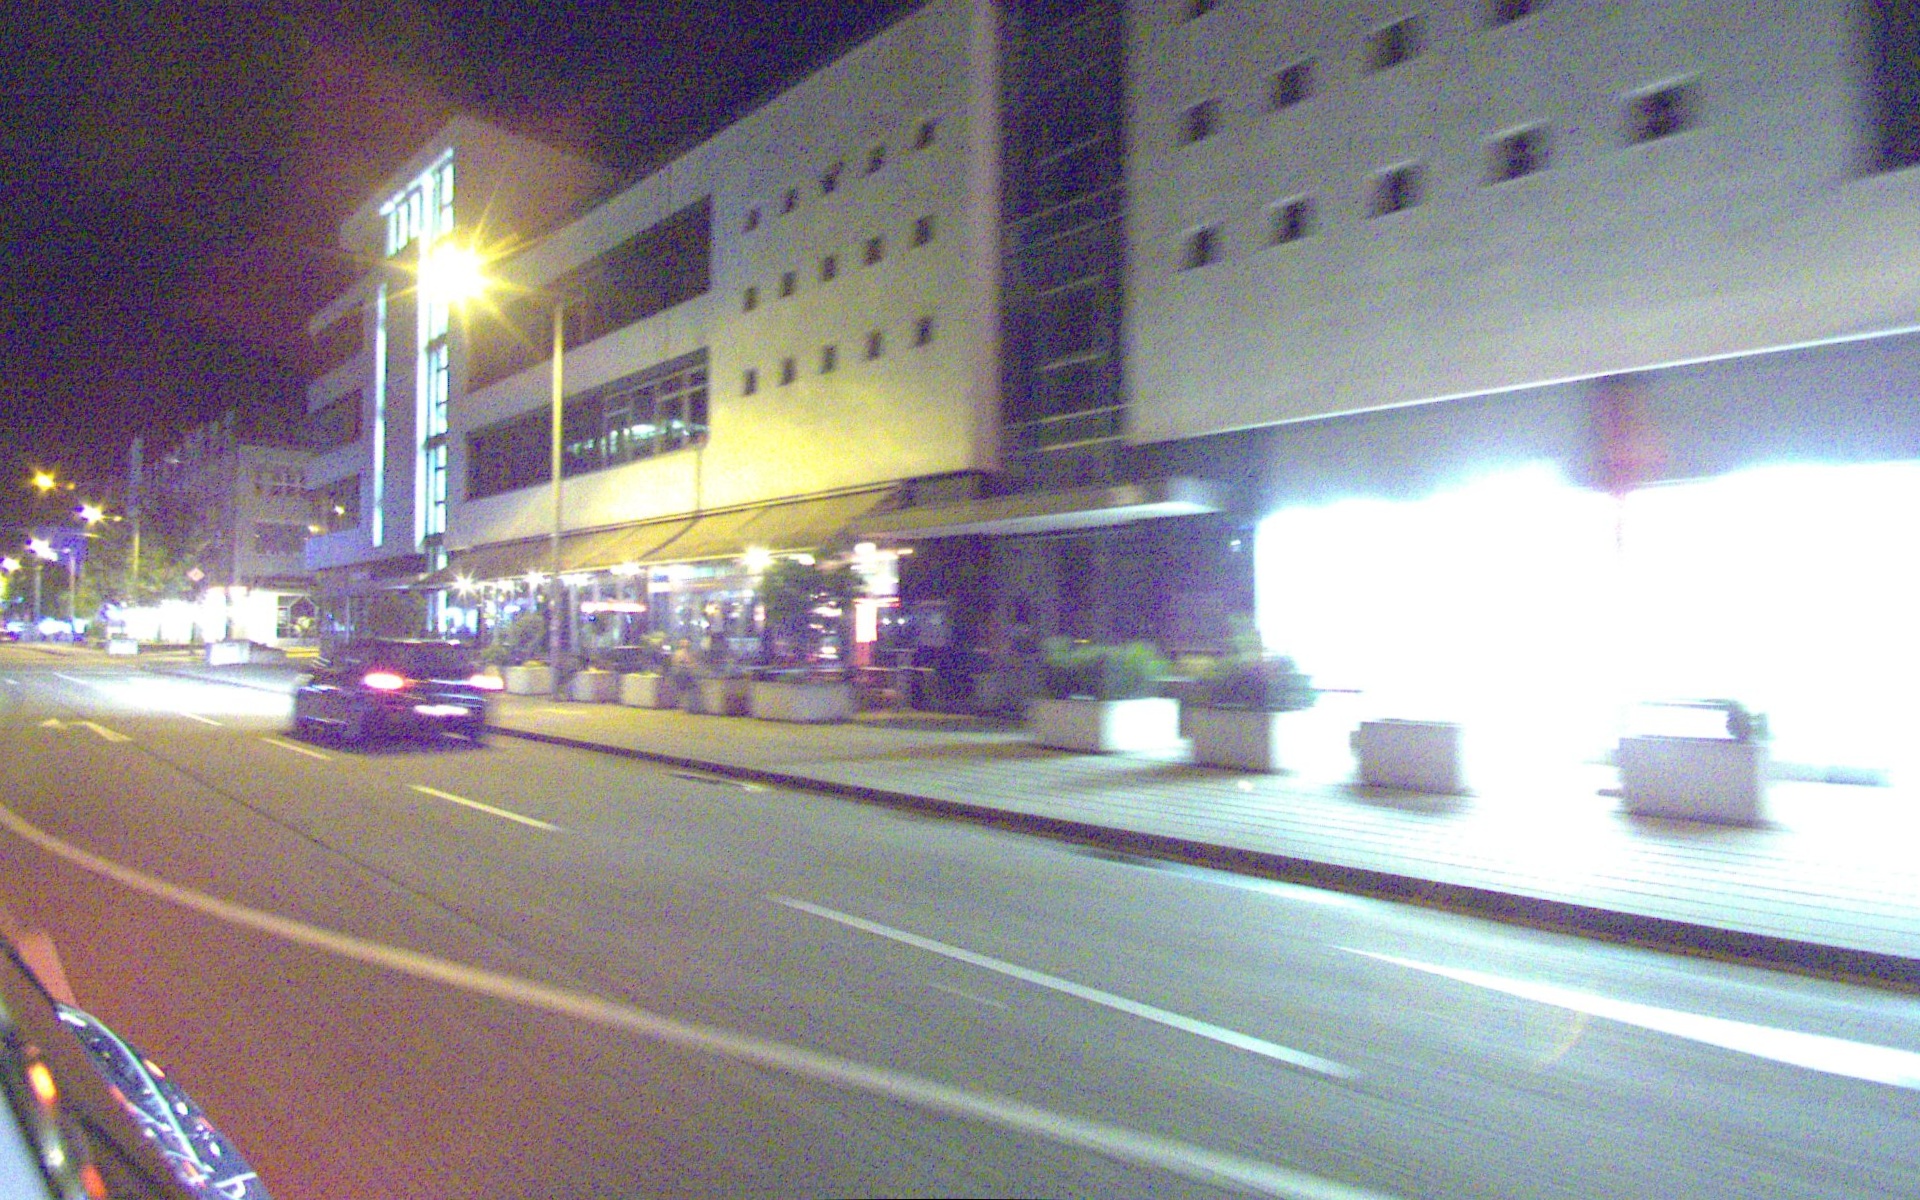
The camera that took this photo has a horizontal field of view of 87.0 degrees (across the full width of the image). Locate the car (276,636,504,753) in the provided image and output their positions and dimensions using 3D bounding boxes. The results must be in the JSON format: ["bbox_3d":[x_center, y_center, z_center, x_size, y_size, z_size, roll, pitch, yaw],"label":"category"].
[{"bbox_3d":[-8.256,1.264,14.512,4.000,1.439,1.649,-2,-5,43],"label":"car"}]
